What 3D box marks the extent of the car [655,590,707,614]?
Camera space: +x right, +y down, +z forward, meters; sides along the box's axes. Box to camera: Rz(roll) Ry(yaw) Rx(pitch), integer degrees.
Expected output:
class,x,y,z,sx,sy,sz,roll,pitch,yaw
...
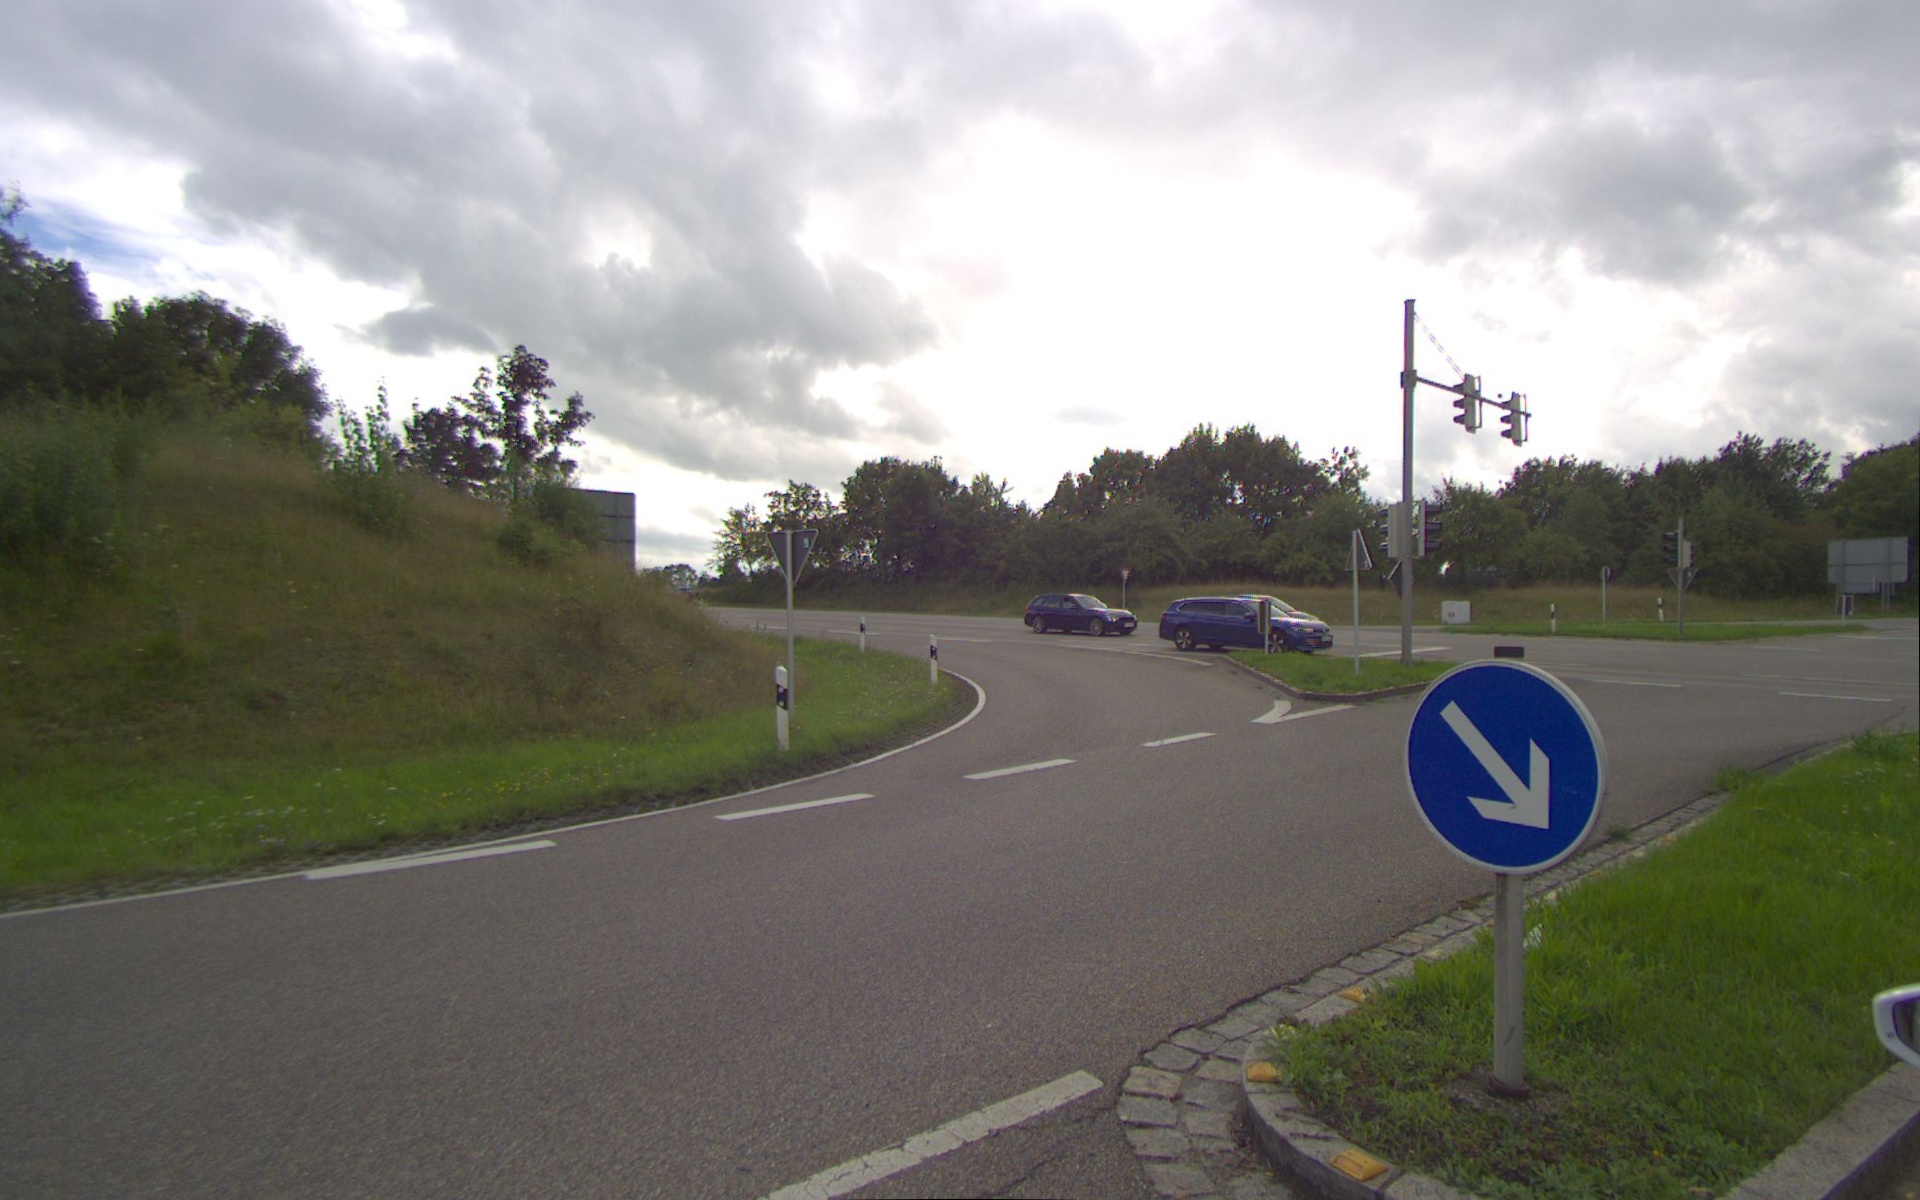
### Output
class,x,y,z,sx,sy,sz,roll,pitch,yaw
car,-21.427,0.156,77.118,3.936,1.712,1.842,1,0,38

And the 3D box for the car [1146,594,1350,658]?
class,x,y,z,sx,sy,sz,roll,pitch,yaw
car,7.783,0.638,27.567,2.038,1.555,5.059,-1,1,-44

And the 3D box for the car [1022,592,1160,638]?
class,x,y,z,sx,sy,sz,roll,pitch,yaw
car,4.690,0.491,36.478,2.040,1.504,4.819,-2,2,-43
